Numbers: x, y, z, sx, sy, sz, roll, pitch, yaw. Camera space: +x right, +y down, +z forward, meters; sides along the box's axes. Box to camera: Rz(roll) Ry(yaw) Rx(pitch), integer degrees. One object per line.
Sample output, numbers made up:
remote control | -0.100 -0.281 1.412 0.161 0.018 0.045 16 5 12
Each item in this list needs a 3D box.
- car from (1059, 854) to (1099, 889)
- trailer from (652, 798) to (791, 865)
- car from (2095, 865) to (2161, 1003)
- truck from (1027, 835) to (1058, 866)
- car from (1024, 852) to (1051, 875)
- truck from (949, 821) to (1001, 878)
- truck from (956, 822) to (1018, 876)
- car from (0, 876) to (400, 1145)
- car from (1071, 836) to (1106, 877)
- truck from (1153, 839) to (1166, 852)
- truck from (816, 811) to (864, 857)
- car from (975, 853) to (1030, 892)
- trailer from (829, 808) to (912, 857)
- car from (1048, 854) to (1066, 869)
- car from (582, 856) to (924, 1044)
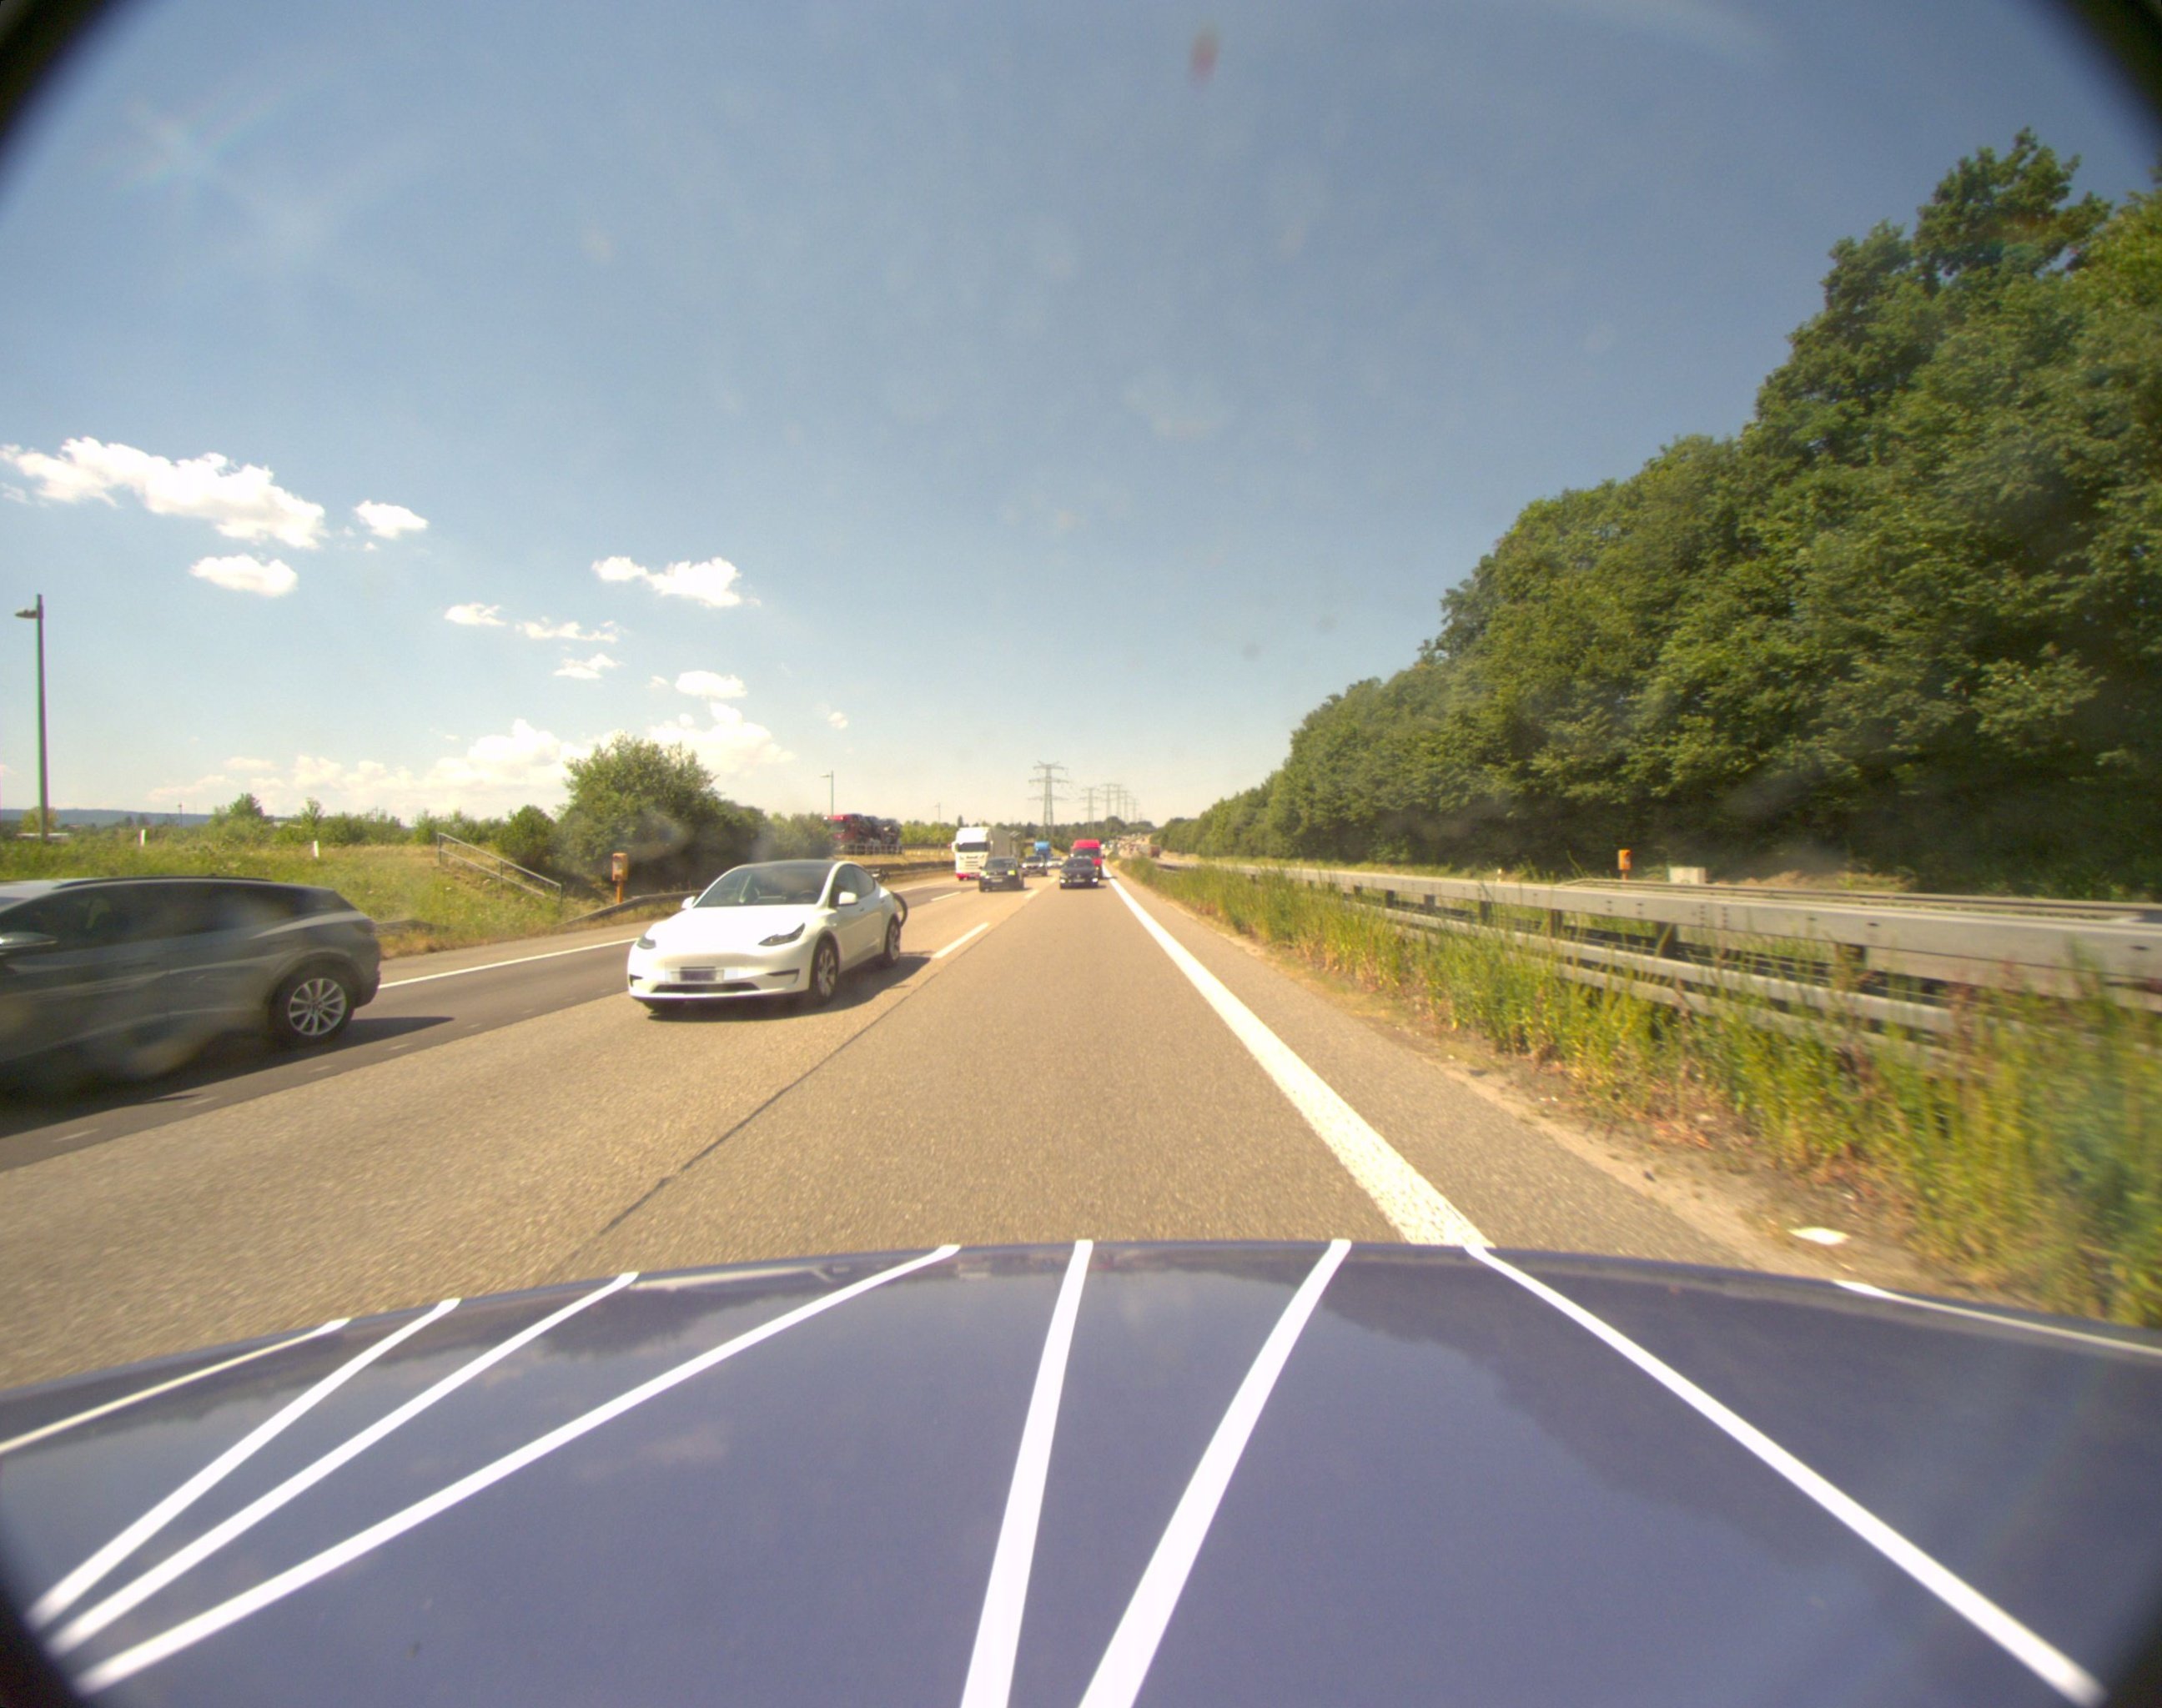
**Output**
car | -0.034 0.804 36.704 1.735 1.536 3.750 0 1 3
trailer | -25.469 -1.540 55.229 3.060 4.060 14.255 -2 1 0
car | 12.863 0.899 6.531 1.998 1.510 4.721 1 0 1
truck | -6.585 -0.687 132.050 3.797 4.971 14.924 -2 1 3
car | -3.411 0.710 60.242 1.749 1.691 4.088 0 1 3
truck | -7.761 -0.347 56.143 3.076 3.885 3.847 -2 1 2
truck | -7.571 -0.441 63.021 3.076 3.885 12.503 -2 1 2
car | -8.002 1.112 5.512 1.873 1.627 4.585 -2 1 1
car | 0.527 0.129 50.271 2.100 2.598 4.496 0 1 3
truck | 23.452 -2.604 228.064 2.789 3.717 11.156 -2 1 1
truck | -20.745 -1.712 65.611 2.608 3.805 3.999 -2 1 1
car | -3.706 0.849 36.568 1.955 1.637 4.047 -3 1 3
trailer | -20.539 -2.039 75.957 2.612 4.233 18.419 -2 1 1
car | -2.796 0.875 89.898 1.878 1.591 3.688 0 1 3
car | -3.715 0.925 10.063 1.955 1.627 5.599 -3 1 1
